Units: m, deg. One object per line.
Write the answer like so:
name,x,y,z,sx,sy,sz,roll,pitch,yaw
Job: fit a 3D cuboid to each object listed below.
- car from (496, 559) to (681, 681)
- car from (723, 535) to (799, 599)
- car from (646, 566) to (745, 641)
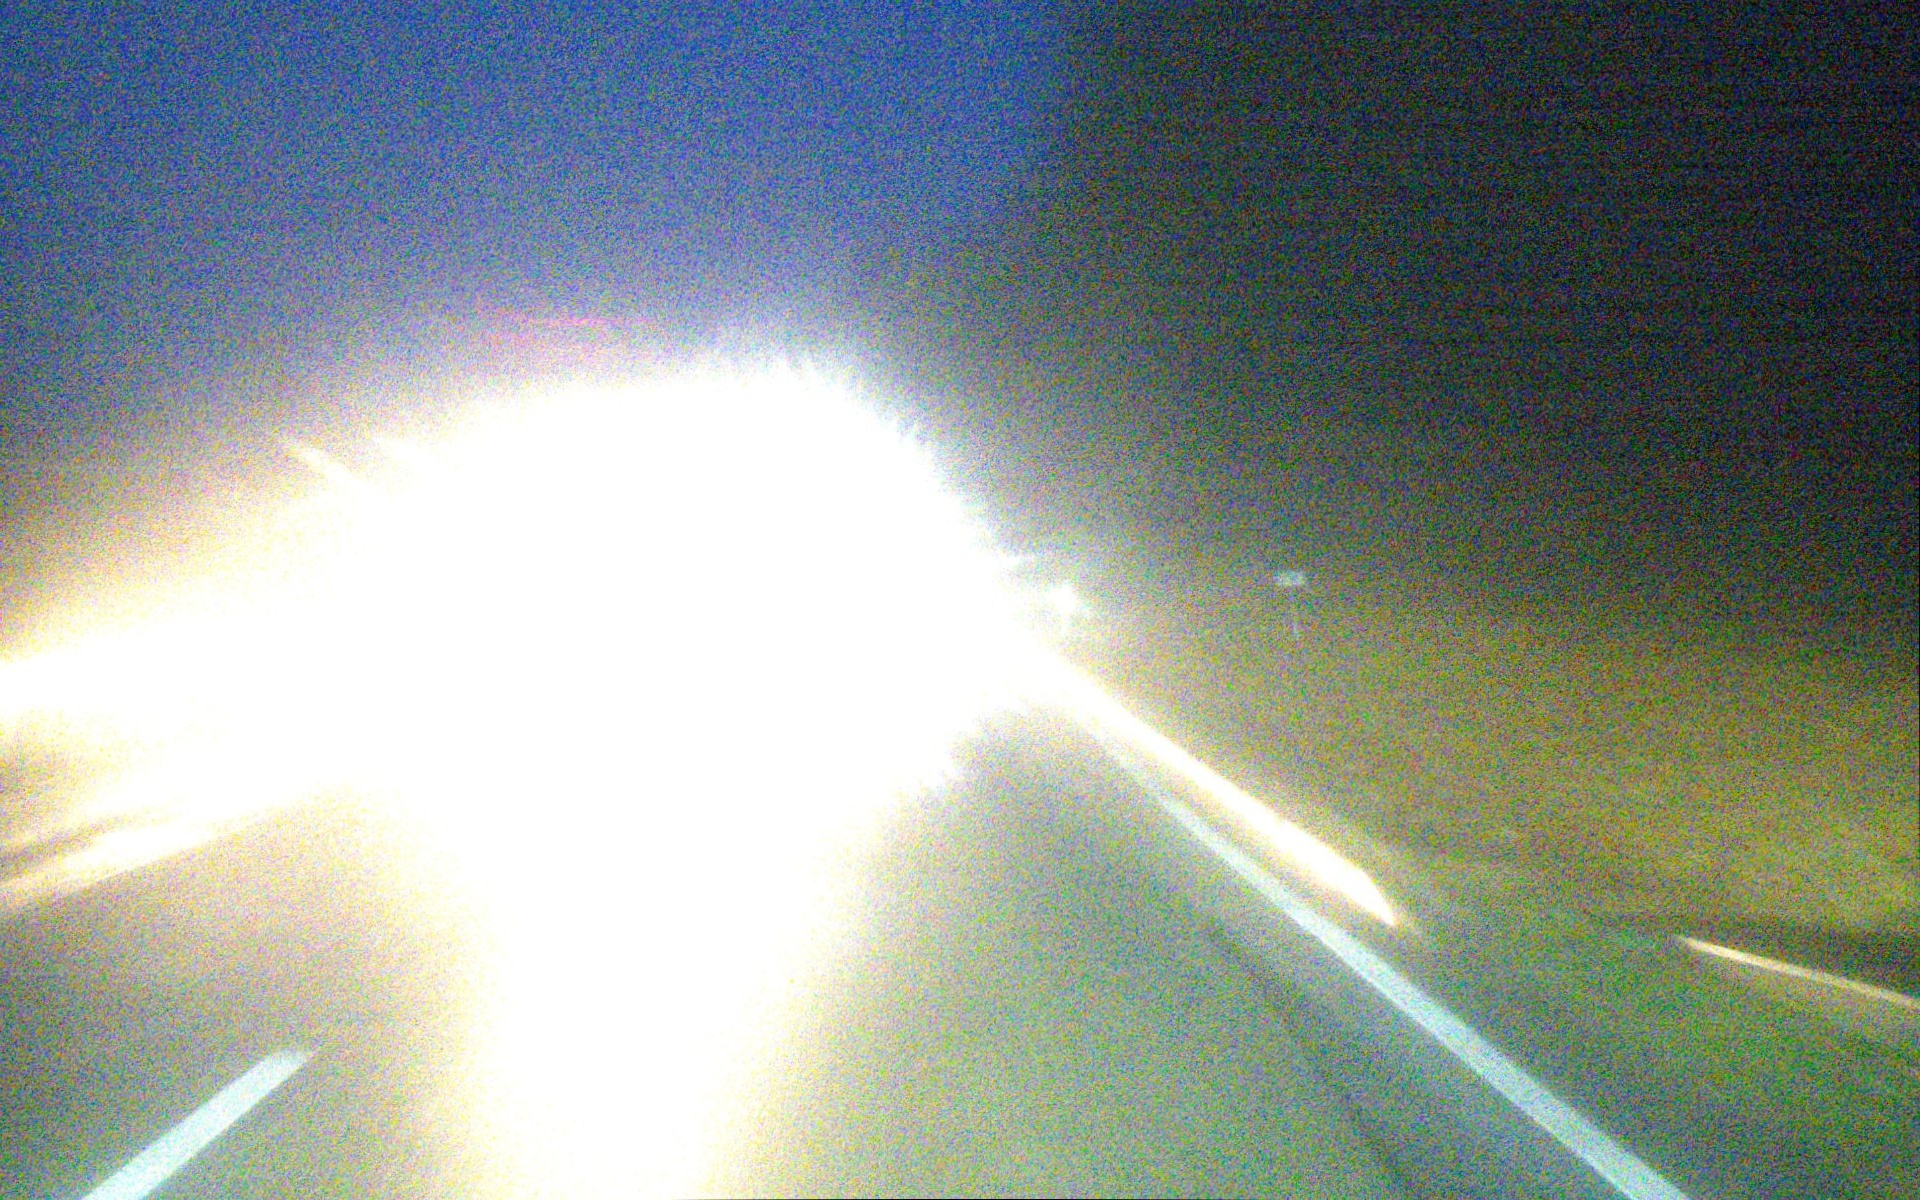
car,-4.710,0.221,44.071,1.993,1.470,3.924,0,1,-1
car,-5.673,-0.965,98.363,1.993,1.786,4.246,0,1,-1
car,-5.428,0.052,71.002,1.843,1.475,4.249,0,1,-2
